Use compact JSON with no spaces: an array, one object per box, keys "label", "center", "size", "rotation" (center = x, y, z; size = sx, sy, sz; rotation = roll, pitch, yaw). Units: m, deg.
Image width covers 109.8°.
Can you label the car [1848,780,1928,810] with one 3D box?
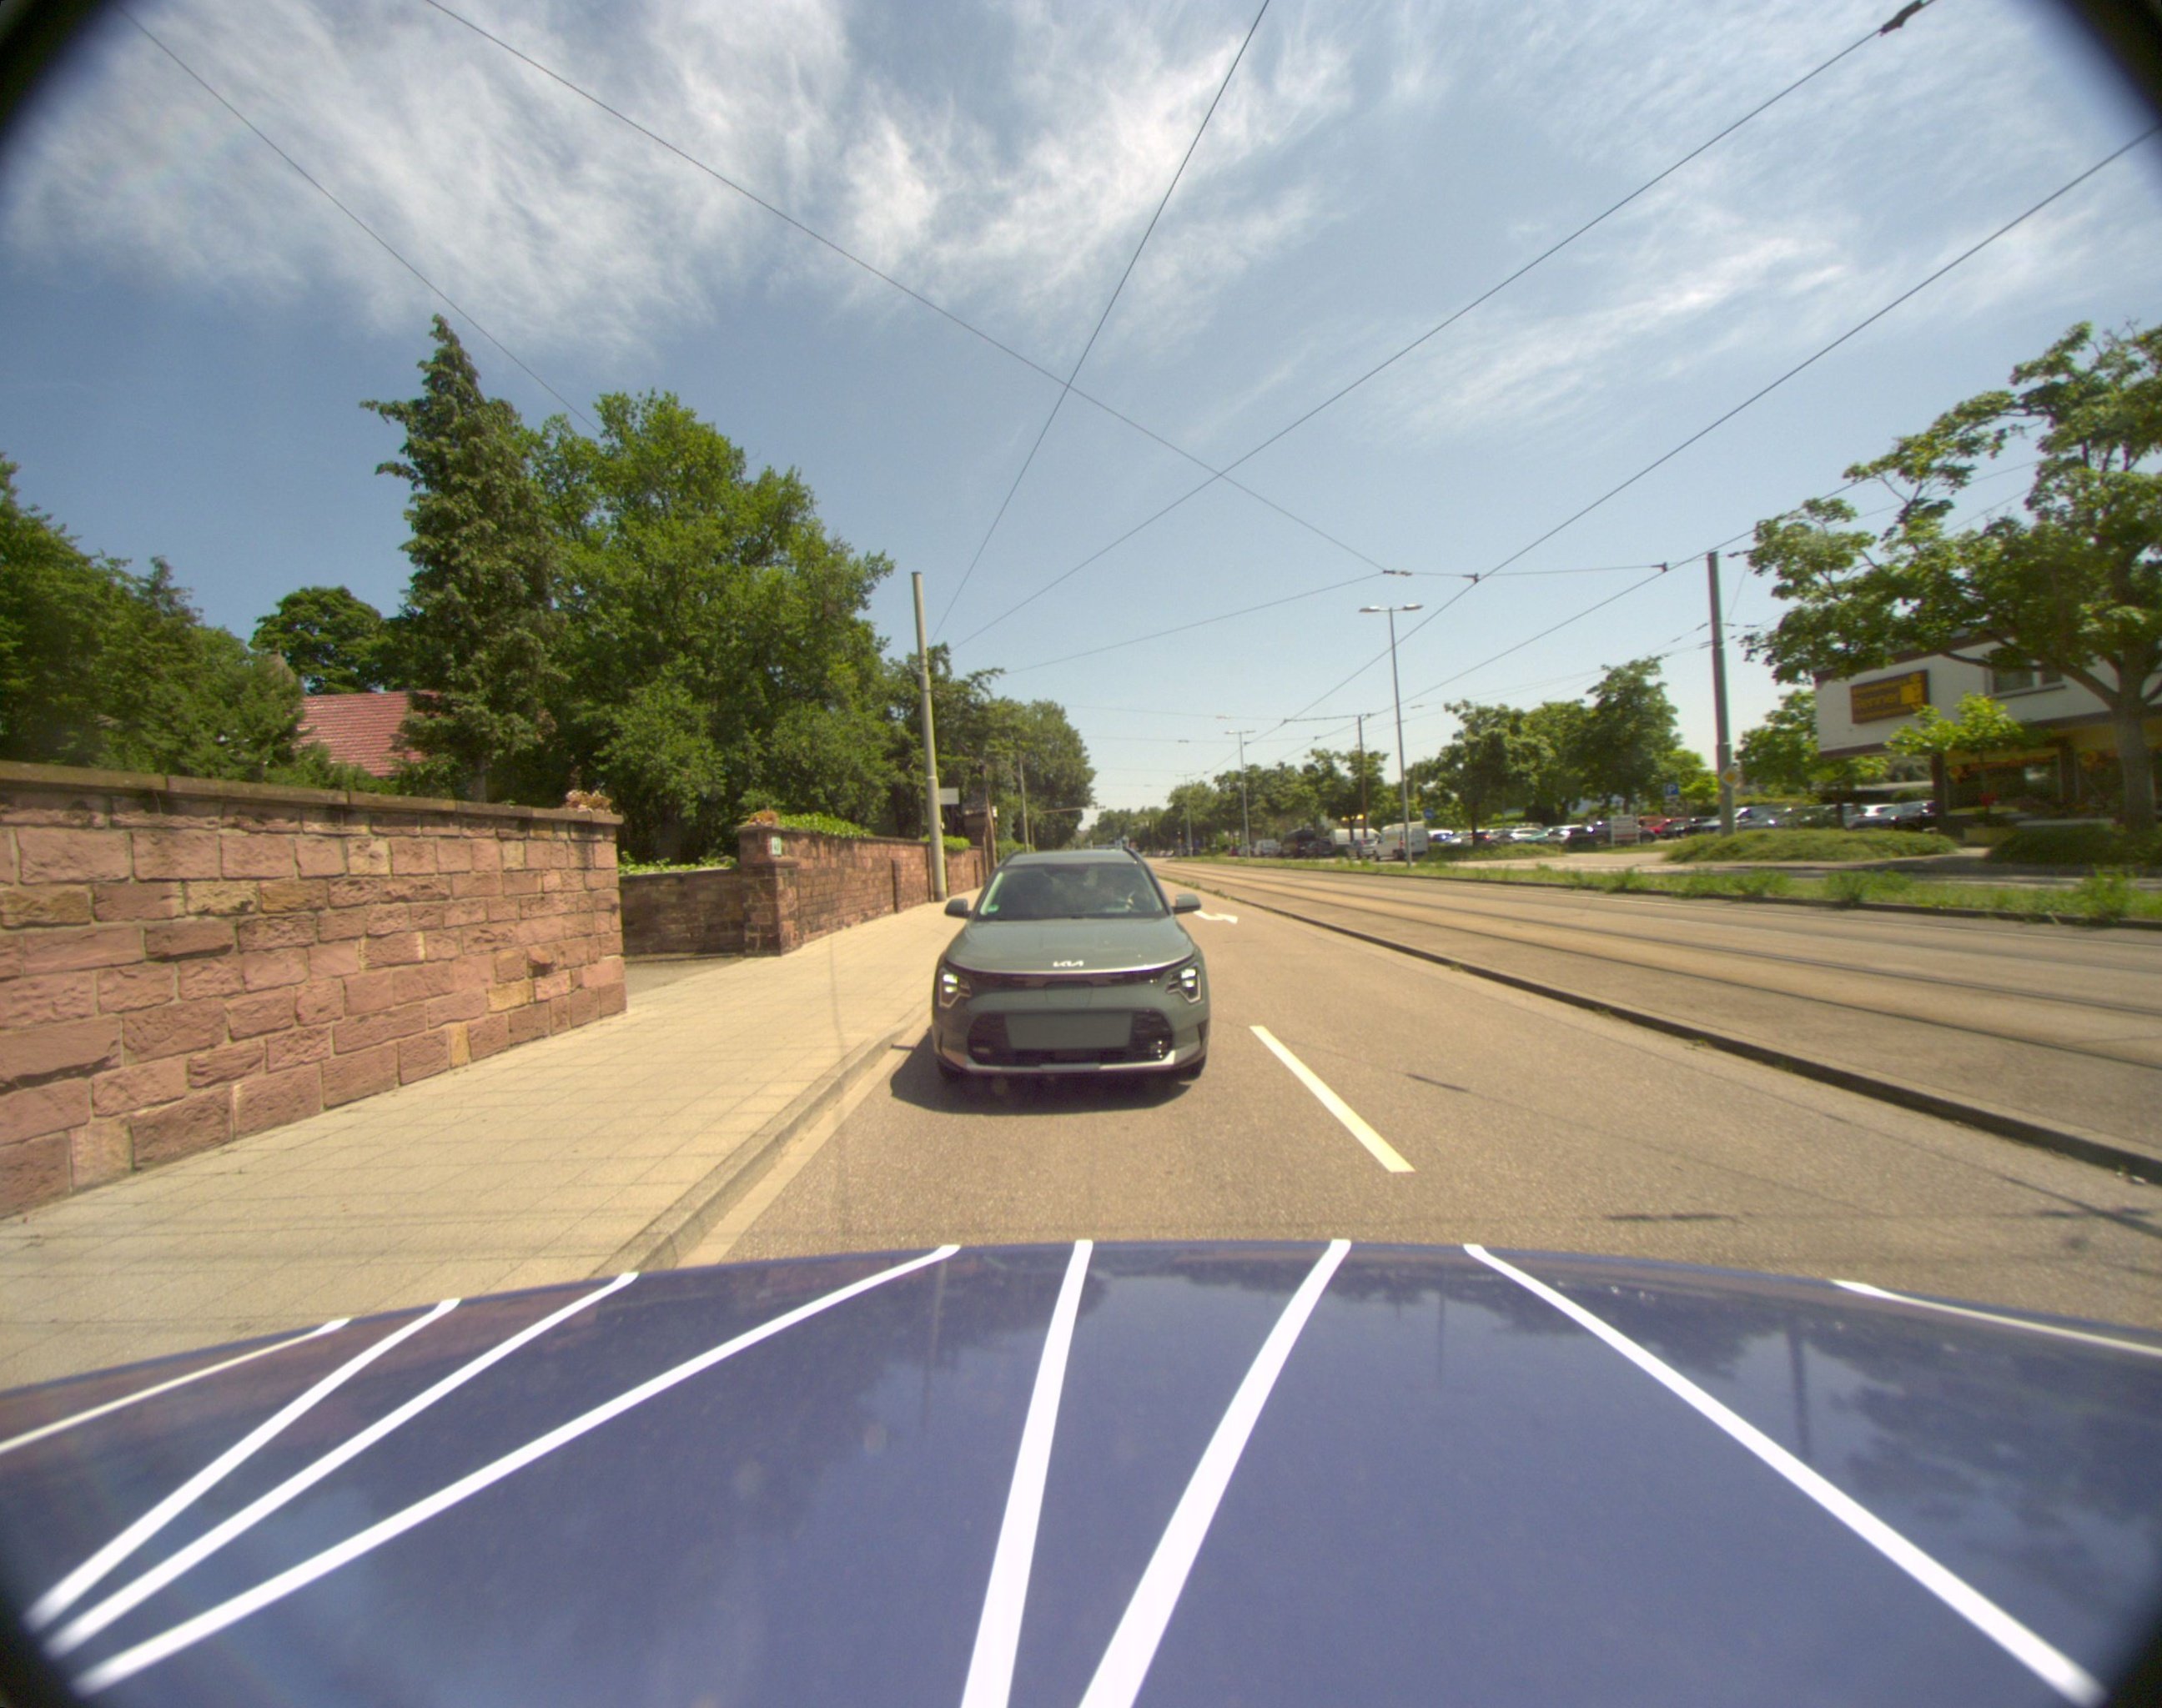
[{"label":"car","center":[63.326,-4.593,59.664],"size":[3.996,2.002,2.000],"rotation":[-3,1,2]}]

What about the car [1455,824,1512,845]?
[{"label":"car","center":[30.524,-1.452,57.674],"size":[3.414,1.386,1.603],"rotation":[-4,1,-5]}]

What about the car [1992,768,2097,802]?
[{"label":"car","center":[61.212,-4.352,48.316],"size":[3.996,1.761,2.000],"rotation":[-3,1,2]}]

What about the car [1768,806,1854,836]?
[{"label":"car","center":[42.717,-1.925,44.519],"size":[3.492,1.528,1.624],"rotation":[-4,1,-2]}]

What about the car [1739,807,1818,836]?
[{"label":"car","center":[43.258,-1.991,47.167],"size":[3.492,1.528,1.534],"rotation":[-4,1,-2]}]

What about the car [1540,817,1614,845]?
[{"label":"car","center":[30.859,-1.419,47.349],"size":[3.414,1.482,1.793],"rotation":[-4,0,-5]}]

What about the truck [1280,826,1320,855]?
[{"label":"truck","center":[20.192,-1.226,70.276],"size":[2.225,2.526,4.929],"rotation":[-3,0,1]}]

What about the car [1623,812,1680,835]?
[{"label":"car","center":[44.906,-2.394,59.799],"size":[3.355,1.552,1.506],"rotation":[-4,1,-2]}]

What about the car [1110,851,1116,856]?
[{"label":"car","center":[10.929,-0.115,258.360],"size":[1.998,1.652,4.000],"rotation":[-4,0,0]}]

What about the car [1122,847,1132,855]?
[{"label":"car","center":[10.897,-0.684,180.855],"size":[1.998,1.652,4.000],"rotation":[-3,0,0]}]

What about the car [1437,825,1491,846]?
[{"label":"car","center":[30.267,-1.469,60.080],"size":[3.414,1.386,1.603],"rotation":[-4,1,-5]}]

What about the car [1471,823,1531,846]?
[{"label":"car","center":[30.105,-1.400,54.488],"size":[3.414,1.386,1.603],"rotation":[-4,1,-5]}]

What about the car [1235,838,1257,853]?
[{"label":"car","center":[20.505,-1.036,94.524],"size":[1.681,1.783,4.202],"rotation":[-3,0,0]}]

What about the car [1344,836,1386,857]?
[{"label":"car","center":[20.235,-0.525,54.306],"size":[1.675,1.378,3.569],"rotation":[-3,0,2]}]

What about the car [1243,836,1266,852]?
[{"label":"car","center":[20.512,-1.176,89.965],"size":[1.681,1.783,4.202],"rotation":[-3,0,0]}]

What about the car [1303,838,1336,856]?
[{"label":"car","center":[20.118,-0.576,64.135],"size":[1.675,1.378,3.669],"rotation":[-3,0,2]}]

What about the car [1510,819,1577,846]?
[{"label":"car","center":[30.282,-1.400,49.828],"size":[3.414,1.482,1.598],"rotation":[-4,1,-5]}]

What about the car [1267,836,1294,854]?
[{"label":"car","center":[20.648,-0.924,78.756],"size":[1.681,1.783,3.868],"rotation":[-3,0,0]}]

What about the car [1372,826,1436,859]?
[{"label":"car","center":[20.215,-0.713,47.836],"size":[1.998,1.872,4.661],"rotation":[-3,0,1]}]

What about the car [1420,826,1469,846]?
[{"label":"car","center":[31.374,-1.520,65.640],"size":[3.414,1.497,1.603],"rotation":[-4,1,-5]}]

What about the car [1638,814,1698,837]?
[{"label":"car","center":[44.204,-2.139,57.291],"size":[3.355,1.450,1.506],"rotation":[-4,1,-2]}]

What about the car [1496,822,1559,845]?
[{"label":"car","center":[30.673,-1.396,52.227],"size":[3.414,1.386,1.603],"rotation":[-4,1,-5]}]

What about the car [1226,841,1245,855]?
[{"label":"car","center":[20.638,-0.837,101.390],"size":[1.681,1.693,3.823],"rotation":[-3,0,0]}]

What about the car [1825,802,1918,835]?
[{"label":"car","center":[43.688,-1.959,42.015],"size":[3.492,1.528,1.624],"rotation":[-4,1,-2]}]

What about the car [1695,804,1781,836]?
[{"label":"car","center":[42.805,-2.225,49.560],"size":[3.998,1.774,1.813],"rotation":[-4,1,-2]}]

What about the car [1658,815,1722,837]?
[{"label":"car","center":[43.839,-2.013,54.741],"size":[3.355,1.381,1.506],"rotation":[-4,1,-2]}]

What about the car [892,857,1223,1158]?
[{"label":"car","center":[-0.102,0.870,6.328],"size":[1.789,1.561,4.184],"rotation":[-2,1,1]}]

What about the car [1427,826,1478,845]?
[{"label":"car","center":[30.792,-1.522,62.975],"size":[3.414,1.386,1.603],"rotation":[-4,1,-5]}]

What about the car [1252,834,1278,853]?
[{"label":"car","center":[20.365,-1.120,84.310],"size":[1.681,1.963,4.509],"rotation":[-3,0,0]}]
